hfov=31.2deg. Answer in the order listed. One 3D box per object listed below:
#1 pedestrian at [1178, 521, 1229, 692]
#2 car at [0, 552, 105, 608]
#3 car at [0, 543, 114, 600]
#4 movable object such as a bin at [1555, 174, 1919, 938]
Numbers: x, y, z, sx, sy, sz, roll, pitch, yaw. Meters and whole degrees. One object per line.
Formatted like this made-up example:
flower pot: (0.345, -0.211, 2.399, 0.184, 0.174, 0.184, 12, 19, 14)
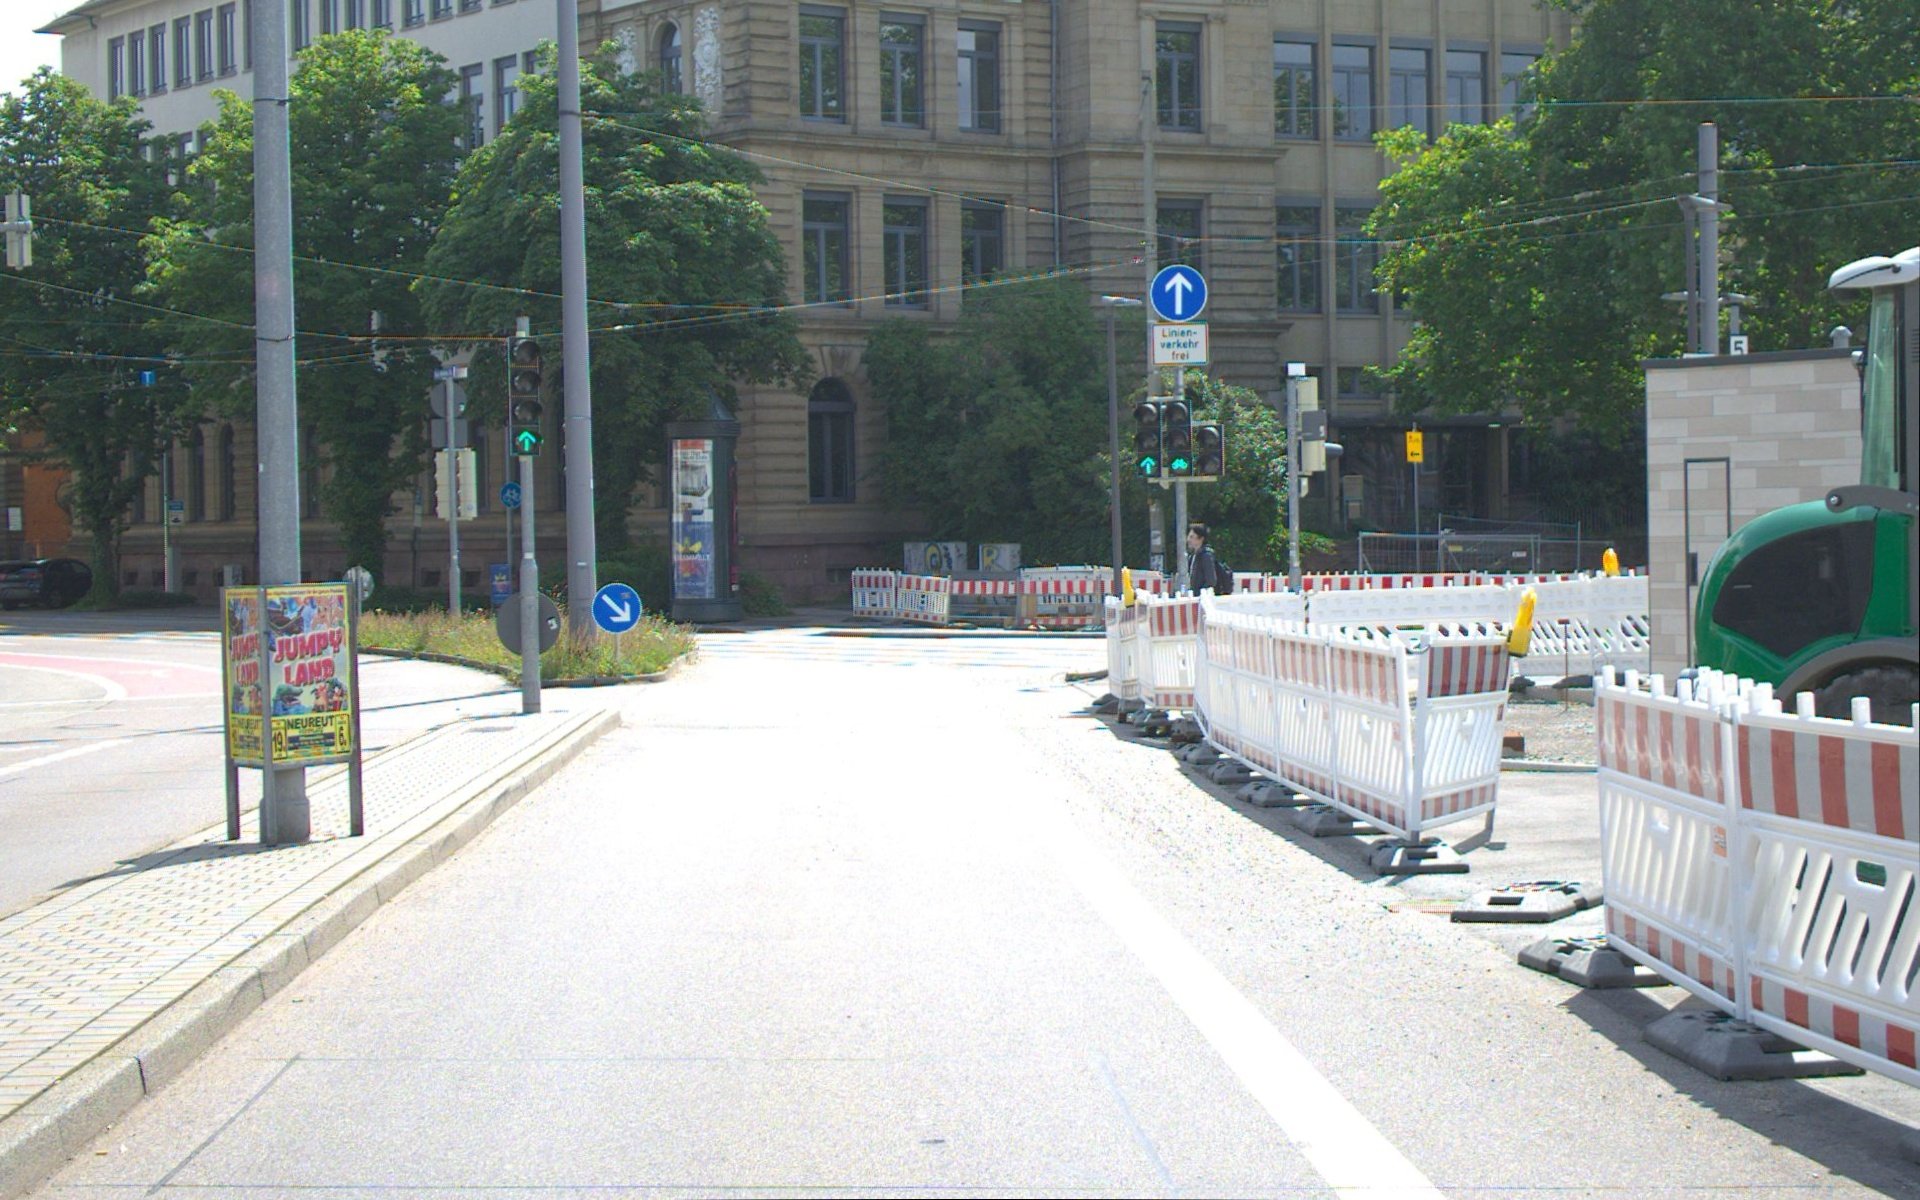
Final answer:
pedestrian: (2.648, 0.068, 37.373, 0.498, 1.844, 0.529, 0, 1, 8)
car: (-28.761, -0.619, 106.951, 3.986, 1.678, 1.803, -1, 1, -8)
car: (-27.877, -0.879, 104.558, 3.986, 1.678, 1.803, -1, 1, -8)
movable object such as a bin: (5.216, -0.178, 12.954, 5.539, 2.875, 2.282, 1, 2, 45)
